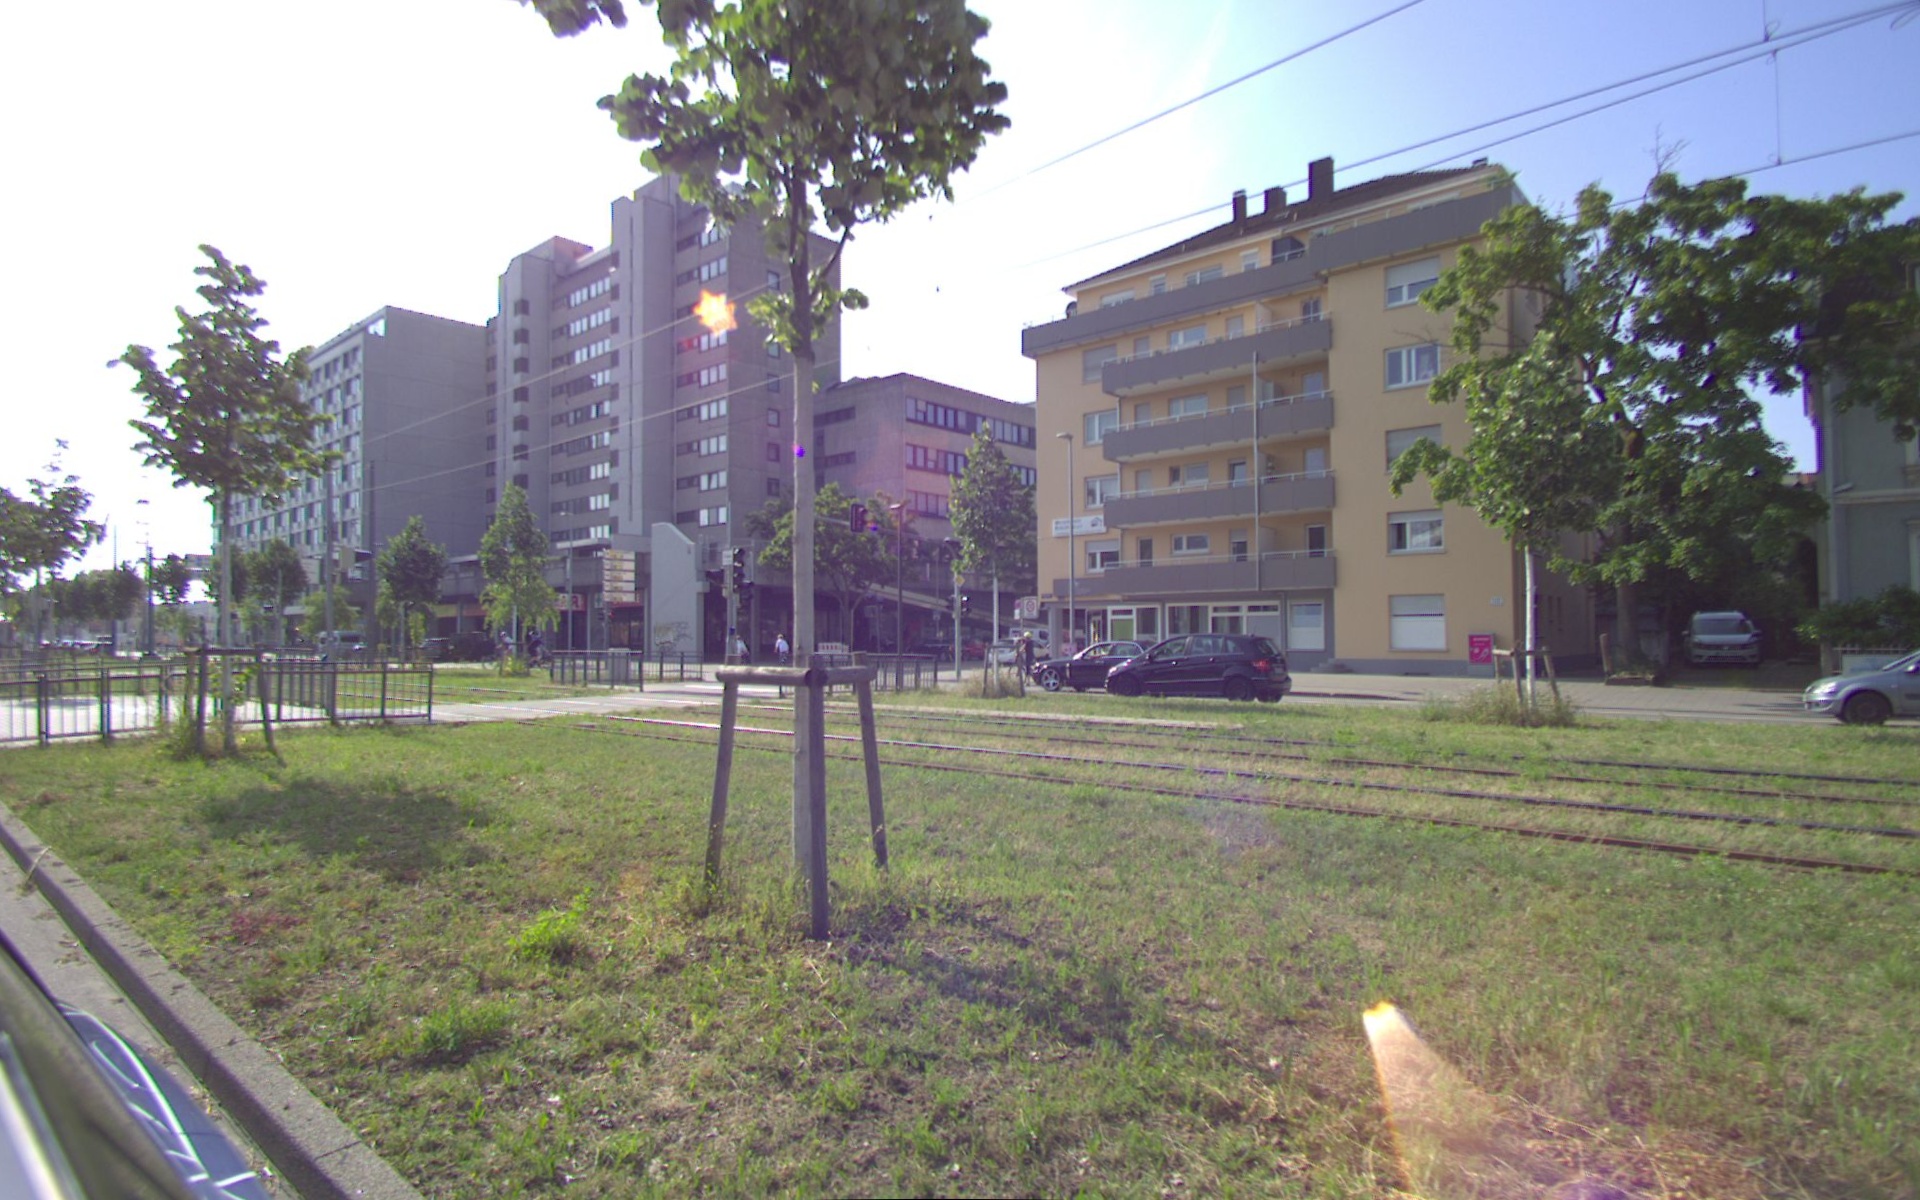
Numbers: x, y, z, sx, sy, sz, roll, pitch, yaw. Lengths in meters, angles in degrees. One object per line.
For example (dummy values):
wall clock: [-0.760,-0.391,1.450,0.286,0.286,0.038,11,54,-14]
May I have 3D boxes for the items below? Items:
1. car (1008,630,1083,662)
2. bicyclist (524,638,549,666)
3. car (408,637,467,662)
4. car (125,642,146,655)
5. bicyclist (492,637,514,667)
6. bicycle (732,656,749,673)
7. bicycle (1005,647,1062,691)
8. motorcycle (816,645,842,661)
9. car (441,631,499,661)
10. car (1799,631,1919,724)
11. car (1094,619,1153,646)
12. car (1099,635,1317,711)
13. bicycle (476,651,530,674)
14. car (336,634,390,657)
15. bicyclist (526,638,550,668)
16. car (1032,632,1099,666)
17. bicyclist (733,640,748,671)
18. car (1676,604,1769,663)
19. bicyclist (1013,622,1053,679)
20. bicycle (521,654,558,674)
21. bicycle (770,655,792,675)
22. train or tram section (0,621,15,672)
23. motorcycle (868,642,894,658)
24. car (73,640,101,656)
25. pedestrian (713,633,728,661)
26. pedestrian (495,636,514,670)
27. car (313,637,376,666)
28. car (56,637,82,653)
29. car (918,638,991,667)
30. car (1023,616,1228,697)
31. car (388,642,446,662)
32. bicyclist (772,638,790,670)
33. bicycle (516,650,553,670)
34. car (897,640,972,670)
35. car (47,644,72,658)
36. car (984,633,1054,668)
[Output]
car: [5.689,3.056,68.077,4.831,1.983,1.972,-1,-2,42]
bicyclist: [-22.164,2.721,52.926,0.684,1.451,1.011,-2,-3,39]
car: [-36.438,3.439,70.691,1.854,1.618,4.108,-1,-2,2]
car: [-122.260,7.171,150.014,4.000,1.681,1.823,-1,0,43]
bicyclist: [-21.274,2.412,47.113,0.897,1.396,0.706,1,-4,-26]
bicycle: [-11.020,3.236,50.790,0.618,0.799,2.009,0,-2,-18]
bicycle: [2.366,2.210,32.741,1.754,1.356,0.688,-2,-2,37]
motorcycle: [-8.233,3.321,63.733,1.946,1.025,0.487,-2,-3,42]
car: [-33.332,3.109,69.008,1.854,1.983,4.108,-1,-2,2]
car: [17.545,1.318,17.467,4.519,1.589,1.976,-2,-3,36]
car: [12.293,2.447,76.212,3.999,2.029,1.972,-2,-2,42]
car: [5.552,1.585,22.982,4.394,1.524,1.973,-2,-2,40]
bicycle: [-21.254,2.906,47.075,2.306,1.007,0.710,0,-2,-26]
car: [-46.756,3.528,79.344,2.071,1.594,4.005,-3,-1,-5]
bicyclist: [-20.591,2.588,49.420,0.957,1.406,0.548,3,-5,-30]
car: [5.605,2.545,53.488,1.772,1.701,3.751,-2,-2,38]
bicyclist: [-11.009,2.772,50.744,0.610,1.511,0.989,0,-2,-18]
car: [24.763,1.082,32.789,2.163,1.762,4.582,-2,-3,40]
bicyclist: [2.357,1.625,32.746,1.081,1.819,0.663,-2,-2,36]
bicycle: [-22.047,3.337,53.071,0.684,0.998,1.646,-2,-2,37]
bicycle: [-8.420,3.050,47.669,0.708,0.804,1.609,-2,0,-21]
train or tram section: [-68.896,3.283,71.578,6.668,3.456,2.467,-2,-3,43]
motorcycle: [-5.164,3.289,66.387,1.946,1.025,0.487,-2,-3,42]
car: [-84.812,4.658,98.352,3.642,1.498,1.721,-2,-3,44]
pedestrian: [-15.453,3.041,65.268,0.622,1.790,0.692,-2,-2,29]
pedestrian: [-22.684,2.626,50.421,0.646,1.703,0.651,-2,-3,44]
car: [-51.183,4.246,84.238,1.859,2.326,5.406,-1,-2,1]
car: [-93.606,4.734,106.314,4.001,1.586,1.787,-2,-3,44]
car: [-0.354,3.262,63.522,4.375,1.640,1.891,-2,0,39]
car: [4.453,1.501,27.801,5.297,2.029,1.973,-2,-2,40]
car: [-39.120,3.726,73.050,1.854,1.253,4.109,-2,0,2]
bicyclist: [-8.459,2.526,47.734,0.676,1.451,0.808,-2,0,-20]
bicycle: [-20.735,2.922,49.304,1.585,0.942,0.559,1,-4,-29]
car: [-1.563,3.304,61.414,4.375,1.640,1.891,-2,0,39]
car: [-98.555,5.545,110.737,4.001,1.486,1.787,-2,-3,44]
car: [2.941,2.492,50.120,1.706,1.596,3.588,-5,-4,38]
